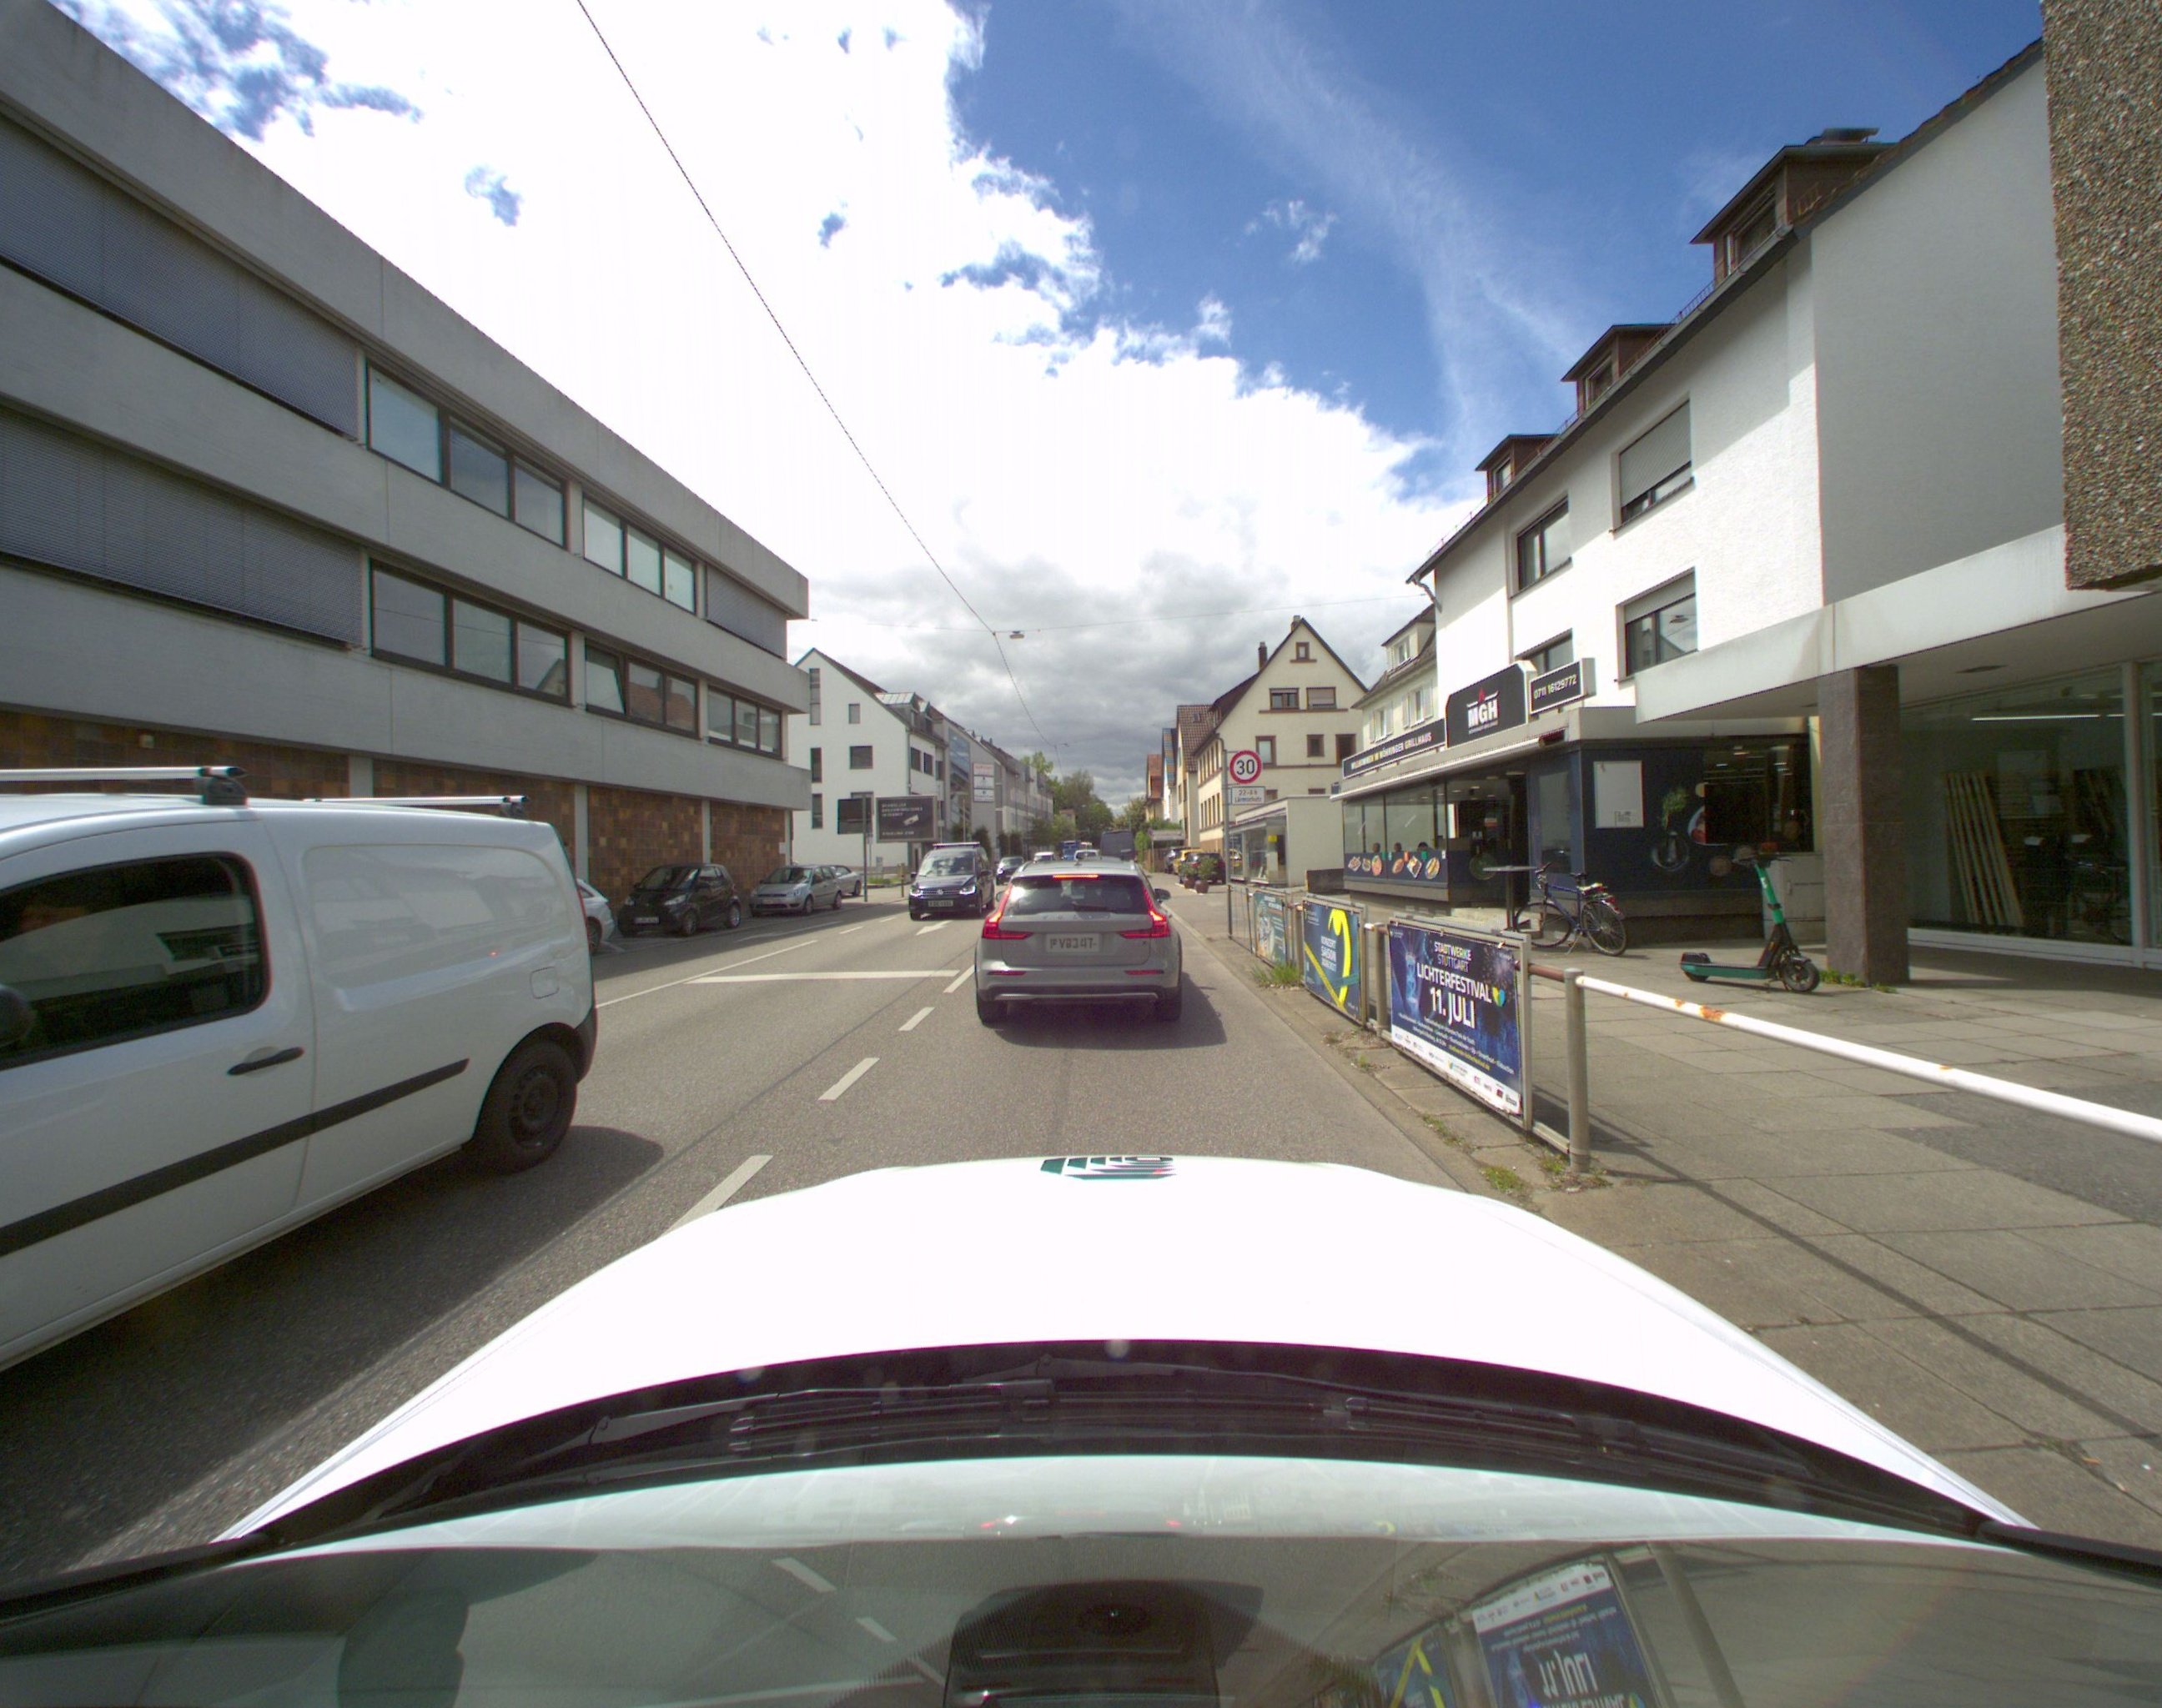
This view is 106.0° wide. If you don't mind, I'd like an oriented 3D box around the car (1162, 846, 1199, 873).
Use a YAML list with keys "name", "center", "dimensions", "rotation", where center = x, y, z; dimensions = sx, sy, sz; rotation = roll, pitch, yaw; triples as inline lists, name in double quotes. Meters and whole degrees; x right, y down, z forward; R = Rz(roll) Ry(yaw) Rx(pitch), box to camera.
- name: "car"
  center: [5.946, 0.363, 49.104]
  dimensions: [1.875, 1.500, 3.973]
  rotation: [-1, -1, 2]

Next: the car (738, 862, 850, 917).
- name: "car"
  center: [-8.519, 1.015, 24.524]
  dimensions: [1.748, 1.426, 3.866]
  rotation: [-1, 0, 4]

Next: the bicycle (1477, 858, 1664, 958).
- name: "bicycle"
  center: [6.277, 0.638, 10.633]
  dimensions: [0.556, 1.144, 2.287]
  rotation: [-2, 0, -16]

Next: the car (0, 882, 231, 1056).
- name: "car"
  center: [-10.343, 1.030, 6.907]
  dimensions: [1.776, 1.464, 4.092]
  rotation: [0, 0, 5]

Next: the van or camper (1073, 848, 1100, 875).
- name: "van or camper"
  center: [0.425, 0.588, 59.368]
  dimensions: [1.813, 1.835, 4.000]
  rotation: [-1, -2, 1]

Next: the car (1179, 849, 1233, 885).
- name: "car"
  center: [5.399, 0.581, 35.708]
  dimensions: [1.705, 1.464, 3.998]
  rotation: [-1, -1, -1]

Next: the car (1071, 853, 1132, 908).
- name: "car"
  center: [0.582, 0.730, 23.902]
  dimensions: [1.645, 1.482, 3.607]
  rotation: [-1, 0, 1]

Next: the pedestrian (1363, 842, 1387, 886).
- name: "pedestrian"
  center: [7.266, 0.240, 20.116]
  dimensions: [0.413, 1.052, 0.367]
  rotation: [-2, 0, -1]

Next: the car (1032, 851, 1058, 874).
- name: "car"
  center: [-2.946, 0.738, 67.875]
  dimensions: [1.791, 1.816, 4.002]
  rotation: [-1, -1, 2]

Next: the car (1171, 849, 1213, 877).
- name: "car"
  center: [6.040, 0.514, 44.764]
  dimensions: [1.875, 1.416, 3.973]
  rotation: [-1, -1, 2]

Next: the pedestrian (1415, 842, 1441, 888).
- name: "pedestrian"
  center: [8.185, 0.260, 19.209]
  dimensions: [0.413, 1.052, 0.367]
  rotation: [-2, 0, -1]

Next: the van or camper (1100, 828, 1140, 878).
- name: "van or camper"
  center: [2.226, -0.047, 47.417]
  dimensions: [2.115, 2.686, 4.784]
  rotation: [-2, 0, 2]

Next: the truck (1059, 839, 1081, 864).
- name: "truck"
  center: [-1.318, -0.288, 99.300]
  dimensions: [2.267, 2.886, 7.083]
  rotation: [-2, 0, 2]

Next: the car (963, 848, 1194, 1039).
- name: "car"
  center: [0.011, 0.728, 8.562]
  dimensions: [1.829, 1.486, 4.000]
  rotation: [-1, 0, 1]

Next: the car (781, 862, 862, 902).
- name: "car"
  center: [-10.483, 1.096, 33.157]
  dimensions: [1.899, 1.398, 3.844]
  rotation: [-2, 0, 2]

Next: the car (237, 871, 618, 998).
- name: "car"
  center: [-9.371, 1.040, 12.306]
  dimensions: [1.894, 1.443, 4.450]
  rotation: [0, 0, 5]

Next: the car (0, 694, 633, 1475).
- name: "car"
  center: [-3.566, 0.582, 2.655]
  dimensions: [1.832, 1.917, 4.156]
  rotation: [-1, 0, 1]

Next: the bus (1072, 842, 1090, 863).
- name: "bus"
  center: [0.052, -0.234, 124.011]
  dimensions: [2.267, 2.901, 7.083]
  rotation: [-2, 0, 2]

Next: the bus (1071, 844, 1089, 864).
- name: "bus"
  center: [-0.109, 0.018, 115.828]
  dimensions: [2.267, 2.668, 7.433]
  rotation: [-2, 0, 2]

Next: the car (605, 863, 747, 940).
- name: "car"
  center: [-8.925, 0.988, 18.201]
  dimensions: [1.601, 1.543, 2.946]
  rotation: [0, 0, 2]

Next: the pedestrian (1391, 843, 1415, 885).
- name: "pedestrian"
  center: [8.110, 0.247, 20.523]
  dimensions: [0.413, 1.052, 0.367]
  rotation: [-2, 0, -1]

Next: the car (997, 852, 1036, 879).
- name: "car"
  center: [-3.579, 0.618, 45.828]
  dimensions: [1.756, 1.426, 4.001]
  rotation: [-2, 0, 1]

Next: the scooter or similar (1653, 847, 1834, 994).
- name: "scooter or similar"
  center: [6.194, 0.597, 7.682]
  dimensions: [0.342, 1.253, 1.235]
  rotation: [-4, -1, -24]

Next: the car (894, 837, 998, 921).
- name: "car"
  center: [-3.424, 0.605, 21.542]
  dimensions: [1.832, 1.917, 4.532]
  rotation: [-3, 0, 1]
